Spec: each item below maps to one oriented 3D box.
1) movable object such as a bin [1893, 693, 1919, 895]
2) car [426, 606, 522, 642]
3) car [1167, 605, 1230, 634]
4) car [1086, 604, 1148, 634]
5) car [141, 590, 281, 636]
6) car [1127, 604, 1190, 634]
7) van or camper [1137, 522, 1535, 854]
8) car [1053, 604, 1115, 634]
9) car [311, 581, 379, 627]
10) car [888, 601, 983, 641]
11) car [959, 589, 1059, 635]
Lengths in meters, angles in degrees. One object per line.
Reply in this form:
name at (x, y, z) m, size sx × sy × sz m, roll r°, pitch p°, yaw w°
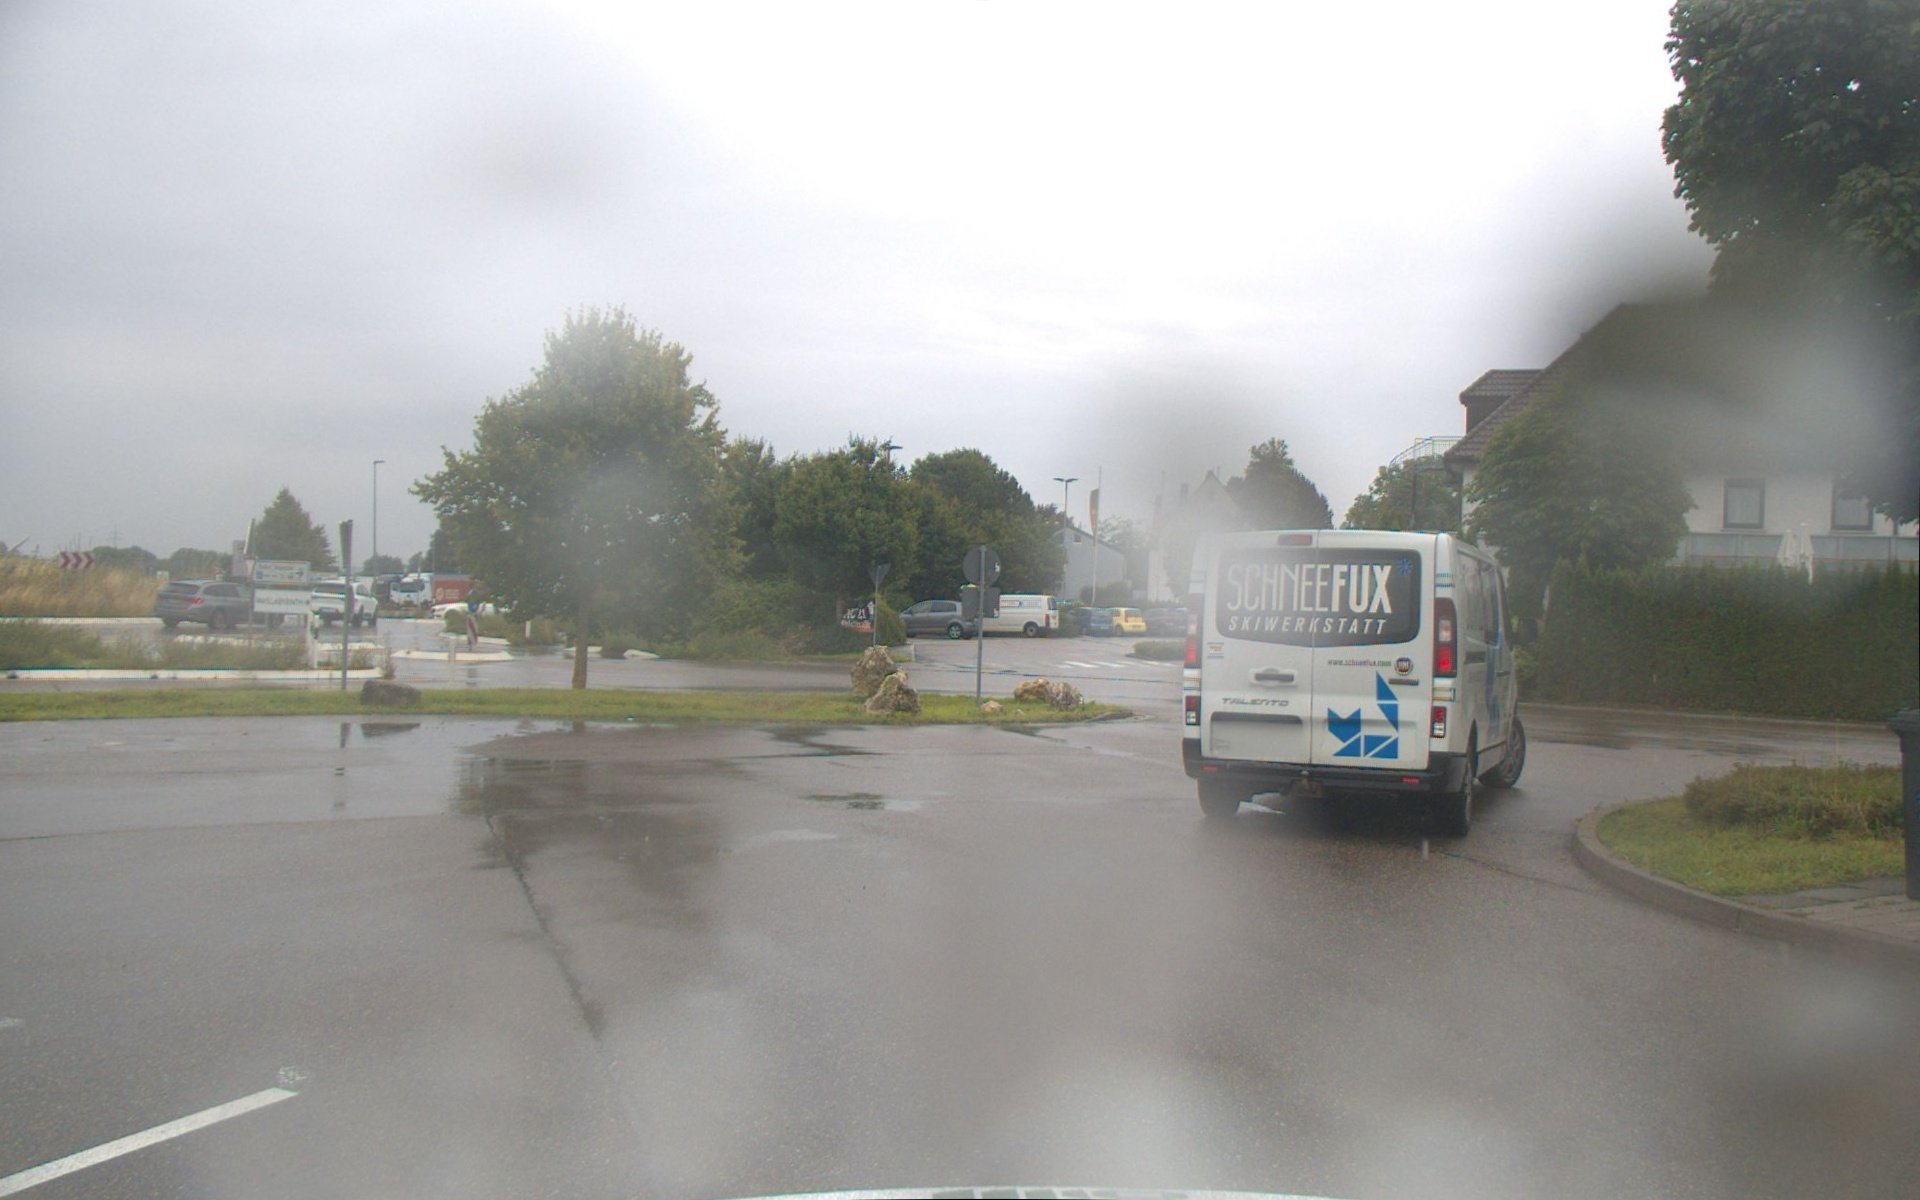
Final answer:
movable object such as a bin at (4.827, 0.938, 7.917) m, size 0.439 × 0.955 × 0.489 m, roll 1°, pitch 0°, yaw -1°
car at (-24.335, 1.210, 82.922) m, size 4.327 × 1.789 × 1.723 m, roll 1°, pitch -1°, yaw -41°
car at (12.814, 1.015, 88.954) m, size 1.562 × 1.483 × 3.647 m, roll 1°, pitch 0°, yaw -27°
car at (8.198, 0.967, 86.676) m, size 1.562 × 1.483 × 3.647 m, roll 1°, pitch 0°, yaw -27°
car at (-23.206, 0.373, 51.414) m, size 1.653 × 1.349 × 4.045 m, roll 1°, pitch 0°, yaw 18°
car at (10.473, 0.985, 87.574) m, size 1.562 × 1.483 × 3.647 m, roll 1°, pitch 0°, yaw -27°
van or camper at (3.133, 0.520, 12.716) m, size 2.143 × 1.979 × 5.196 m, roll 1°, pitch 0°, yaw 22°
car at (6.329, 0.955, 84.686) m, size 1.533 × 1.483 × 3.647 m, roll 1°, pitch 0°, yaw -27°
car at (-22.511, 0.139, 60.668) m, size 1.658 × 1.612 × 4.373 m, roll 1°, pitch 0°, yaw -12°
car at (-1.025, 0.870, 68.599) m, size 3.654 × 1.578 × 1.451 m, roll 1°, pitch 0°, yaw 18°
car at (2.319, 0.534, 78.040) m, size 4.426 × 2.069 × 1.645 m, roll 1°, pitch 0°, yaw 19°
